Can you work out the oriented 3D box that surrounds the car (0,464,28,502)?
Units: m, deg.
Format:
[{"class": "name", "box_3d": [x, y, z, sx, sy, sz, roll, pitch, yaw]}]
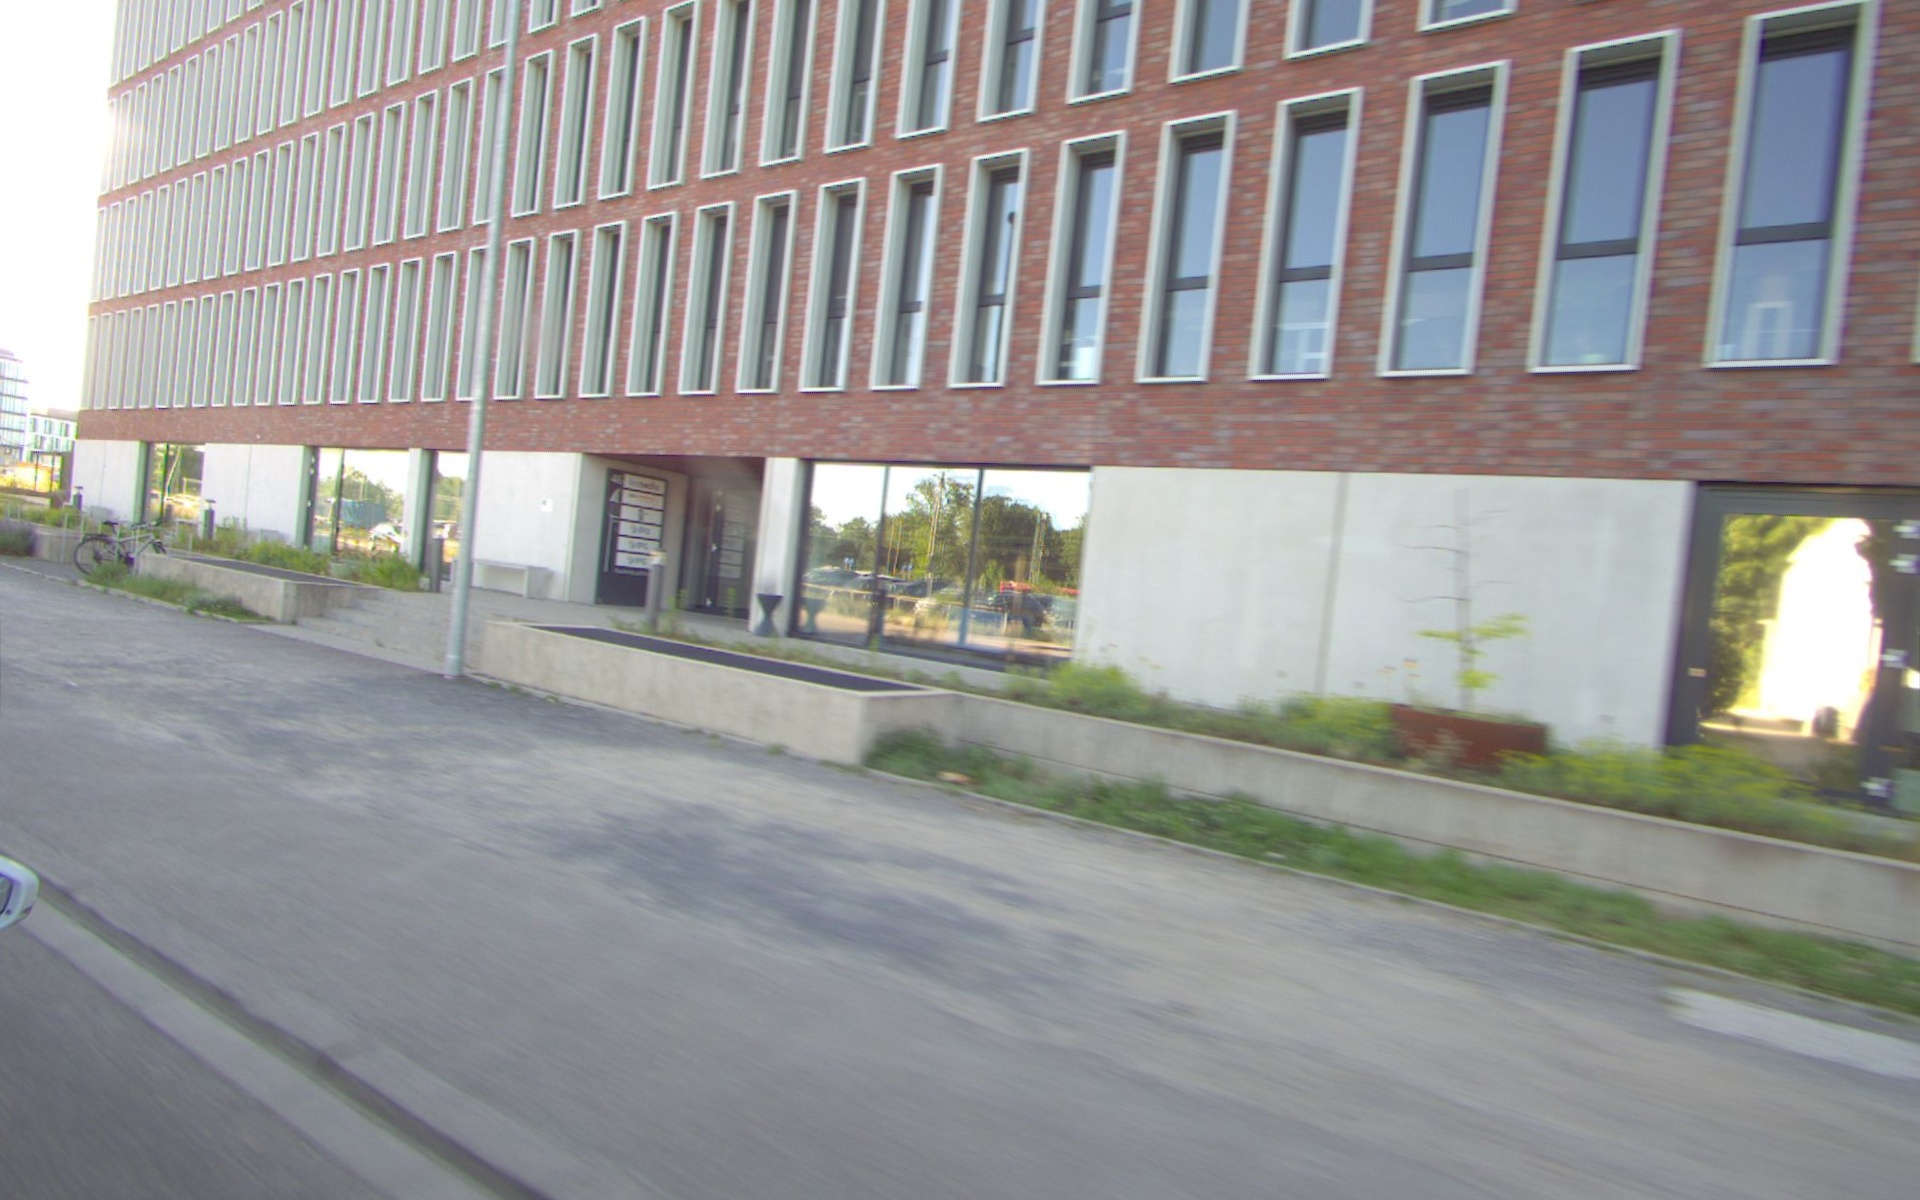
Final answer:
[{"class": "car", "box_3d": [-45.490, -5.629, 45.730, 1.822, 1.600, 4.186, 8, 0, 35]}]

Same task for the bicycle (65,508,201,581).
[{"class": "bicycle", "box_3d": [-15.371, -1.002, 18.768, 0.368, 1.185, 1.935, 7, 2, 25]}]
